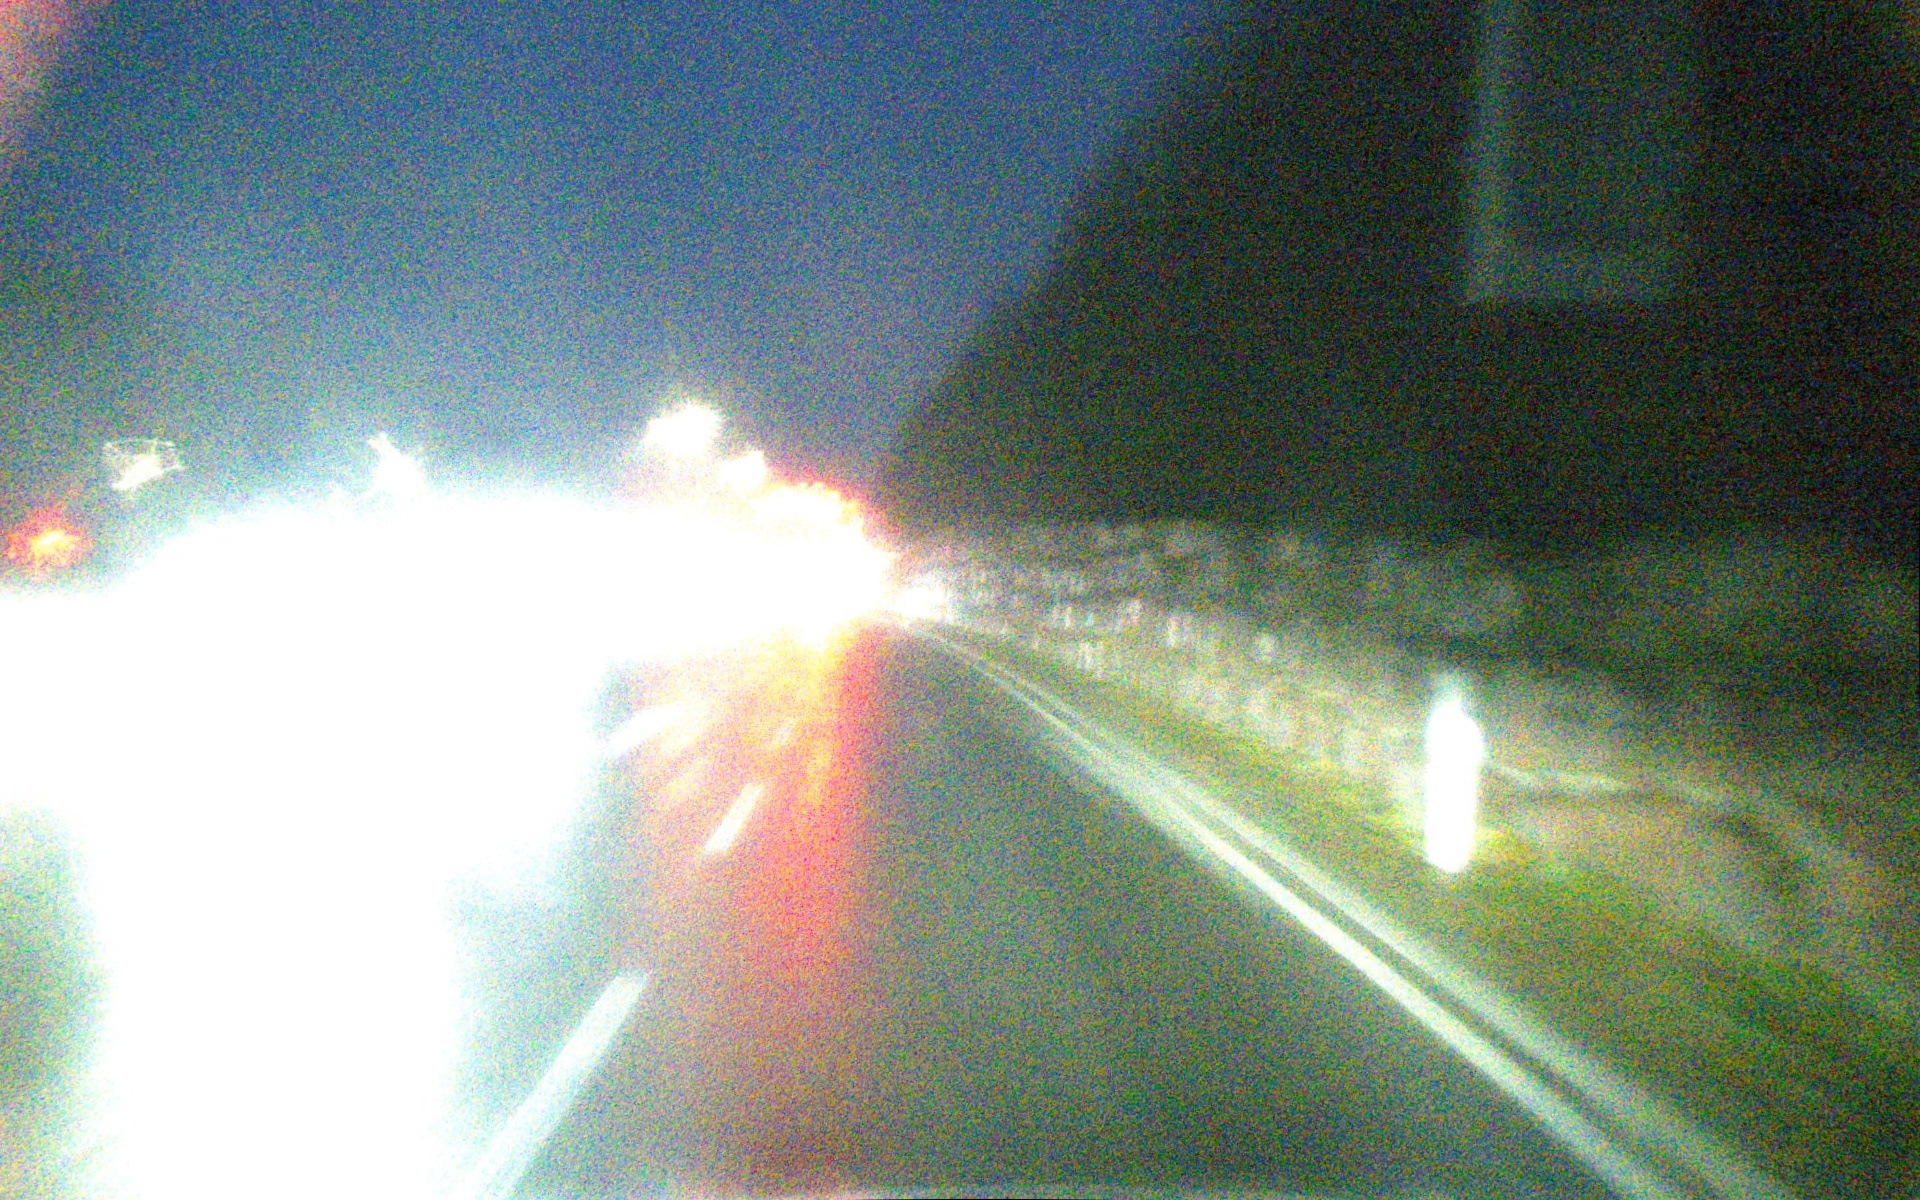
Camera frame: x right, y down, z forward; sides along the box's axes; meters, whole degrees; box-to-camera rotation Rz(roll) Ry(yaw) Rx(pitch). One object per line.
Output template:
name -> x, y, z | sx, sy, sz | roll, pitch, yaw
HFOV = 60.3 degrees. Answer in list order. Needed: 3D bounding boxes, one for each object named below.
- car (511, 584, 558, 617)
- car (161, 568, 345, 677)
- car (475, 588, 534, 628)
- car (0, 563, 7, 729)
car -> -20.366, 0.021, 79.272 | 1.757, 1.466, 3.848 | -2, 1, -9
car -> -12.521, 0.376, 29.612 | 2.159, 1.776, 4.511 | 1, 0, -12
car -> -17.770, 0.284, 64.733 | 1.799, 1.467, 4.479 | 1, 0, -10
car -> -9.990, 0.443, 14.222 | 1.847, 1.628, 3.891 | 1, 0, -10
